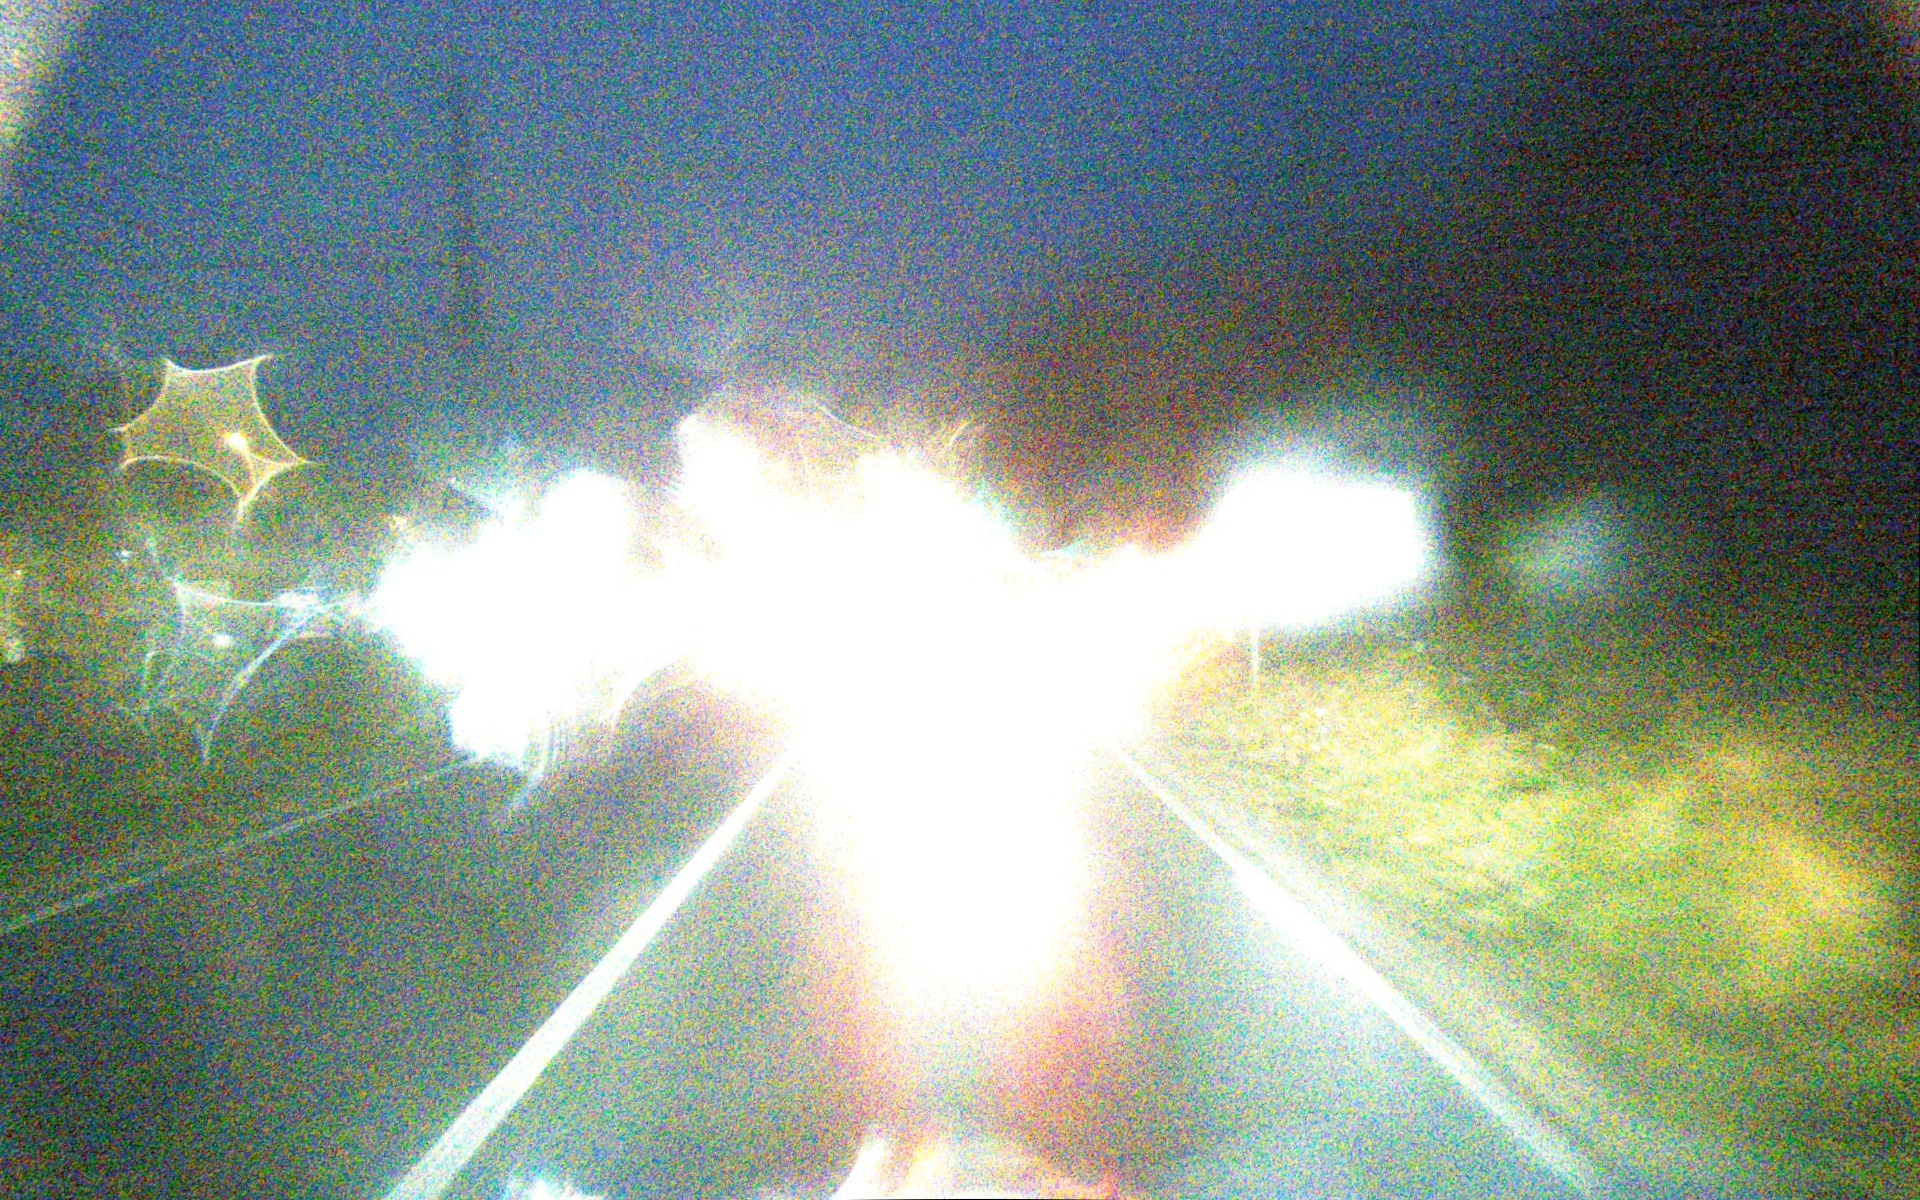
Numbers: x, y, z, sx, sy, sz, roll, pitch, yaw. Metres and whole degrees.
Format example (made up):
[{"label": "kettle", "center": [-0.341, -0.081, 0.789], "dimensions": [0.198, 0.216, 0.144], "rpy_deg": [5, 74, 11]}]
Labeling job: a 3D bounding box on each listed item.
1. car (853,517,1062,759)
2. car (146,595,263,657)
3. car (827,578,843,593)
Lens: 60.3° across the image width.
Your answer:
[{"label": "car", "center": [-0.021, 0.297, 16.932], "dimensions": [1.755, 2.057, 4.580], "rpy_deg": [-3, 1, 0]}, {"label": "car", "center": [-22.978, 0.752, 50.477], "dimensions": [1.750, 1.723, 4.217], "rpy_deg": [-1, 1, -3]}, {"label": "car", "center": [-14.662, -1.666, 193.750], "dimensions": [1.766, 1.616, 4.027], "rpy_deg": [-2, 0, -4]}]
